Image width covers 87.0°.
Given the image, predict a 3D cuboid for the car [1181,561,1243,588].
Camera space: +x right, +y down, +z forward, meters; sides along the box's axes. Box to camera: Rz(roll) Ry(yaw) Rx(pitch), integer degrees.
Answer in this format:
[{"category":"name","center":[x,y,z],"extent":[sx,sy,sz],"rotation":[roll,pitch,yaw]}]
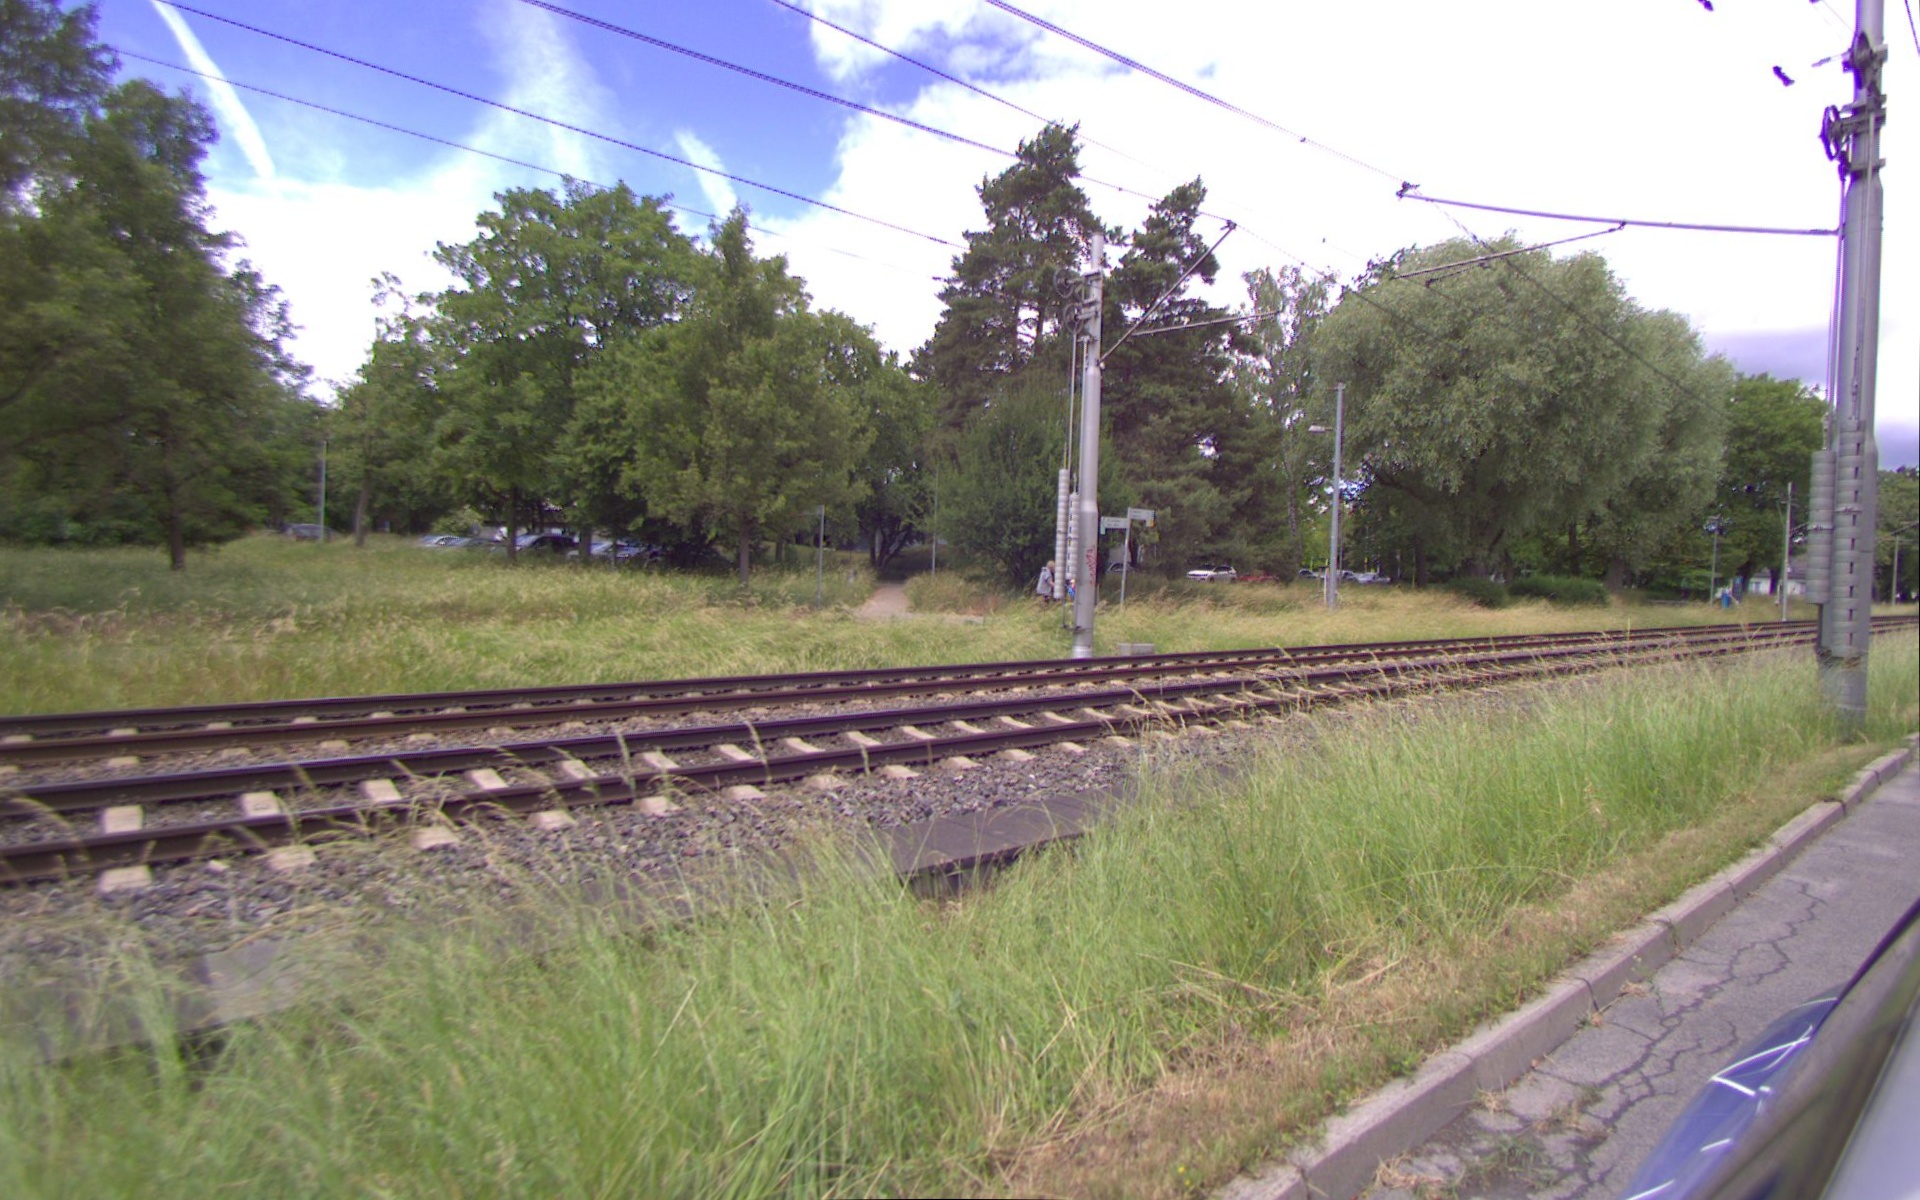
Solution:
[{"category":"car","center":[16.950,-1.725,67.917],"extent":[4.154,1.721,1.998],"rotation":[0,1,-40]}]

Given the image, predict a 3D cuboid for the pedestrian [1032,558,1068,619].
[{"category":"pedestrian","center":[2.537,-0.328,28.607],"extent":[0.940,1.687,0.658],"rotation":[1,2,1]}]

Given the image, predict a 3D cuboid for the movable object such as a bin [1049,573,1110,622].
[{"category":"movable object such as a bin","center":[3.373,-0.077,28.566],"extent":[1.612,1.326,0.660],"rotation":[1,2,1]}]

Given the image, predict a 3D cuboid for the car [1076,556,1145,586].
[{"category":"car","center":[9.083,-1.761,61.105],"extent":[3.927,1.721,1.999],"rotation":[0,1,-38]}]

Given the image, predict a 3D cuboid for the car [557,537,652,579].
[{"category":"car","center":[-16.355,-1.916,46.745],"extent":[1.979,1.834,3.968],"rotation":[2,2,24]}]

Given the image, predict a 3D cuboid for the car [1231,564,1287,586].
[{"category":"car","center":[21.127,-1.792,71.464],"extent":[3.929,1.460,1.998],"rotation":[0,2,-40]}]

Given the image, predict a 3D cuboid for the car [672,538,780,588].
[{"category":"car","center":[-9.107,-1.427,39.631],"extent":[1.740,1.826,3.947],"rotation":[2,2,37]}]

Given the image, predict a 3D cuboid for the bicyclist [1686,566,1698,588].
[{"category":"bicyclist","center":[58.135,-1.855,80.372],"extent":[0.920,1.717,0.581],"rotation":[0,2,-44]}]

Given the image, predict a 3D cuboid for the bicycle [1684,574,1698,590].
[{"category":"bicycle","center":[57.821,-1.436,80.066],"extent":[1.897,1.261,0.581],"rotation":[0,2,-44]}]

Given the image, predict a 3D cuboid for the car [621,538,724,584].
[{"category":"car","center":[-12.201,-1.635,43.139],"extent":[1.740,1.826,3.947],"rotation":[2,2,37]}]
